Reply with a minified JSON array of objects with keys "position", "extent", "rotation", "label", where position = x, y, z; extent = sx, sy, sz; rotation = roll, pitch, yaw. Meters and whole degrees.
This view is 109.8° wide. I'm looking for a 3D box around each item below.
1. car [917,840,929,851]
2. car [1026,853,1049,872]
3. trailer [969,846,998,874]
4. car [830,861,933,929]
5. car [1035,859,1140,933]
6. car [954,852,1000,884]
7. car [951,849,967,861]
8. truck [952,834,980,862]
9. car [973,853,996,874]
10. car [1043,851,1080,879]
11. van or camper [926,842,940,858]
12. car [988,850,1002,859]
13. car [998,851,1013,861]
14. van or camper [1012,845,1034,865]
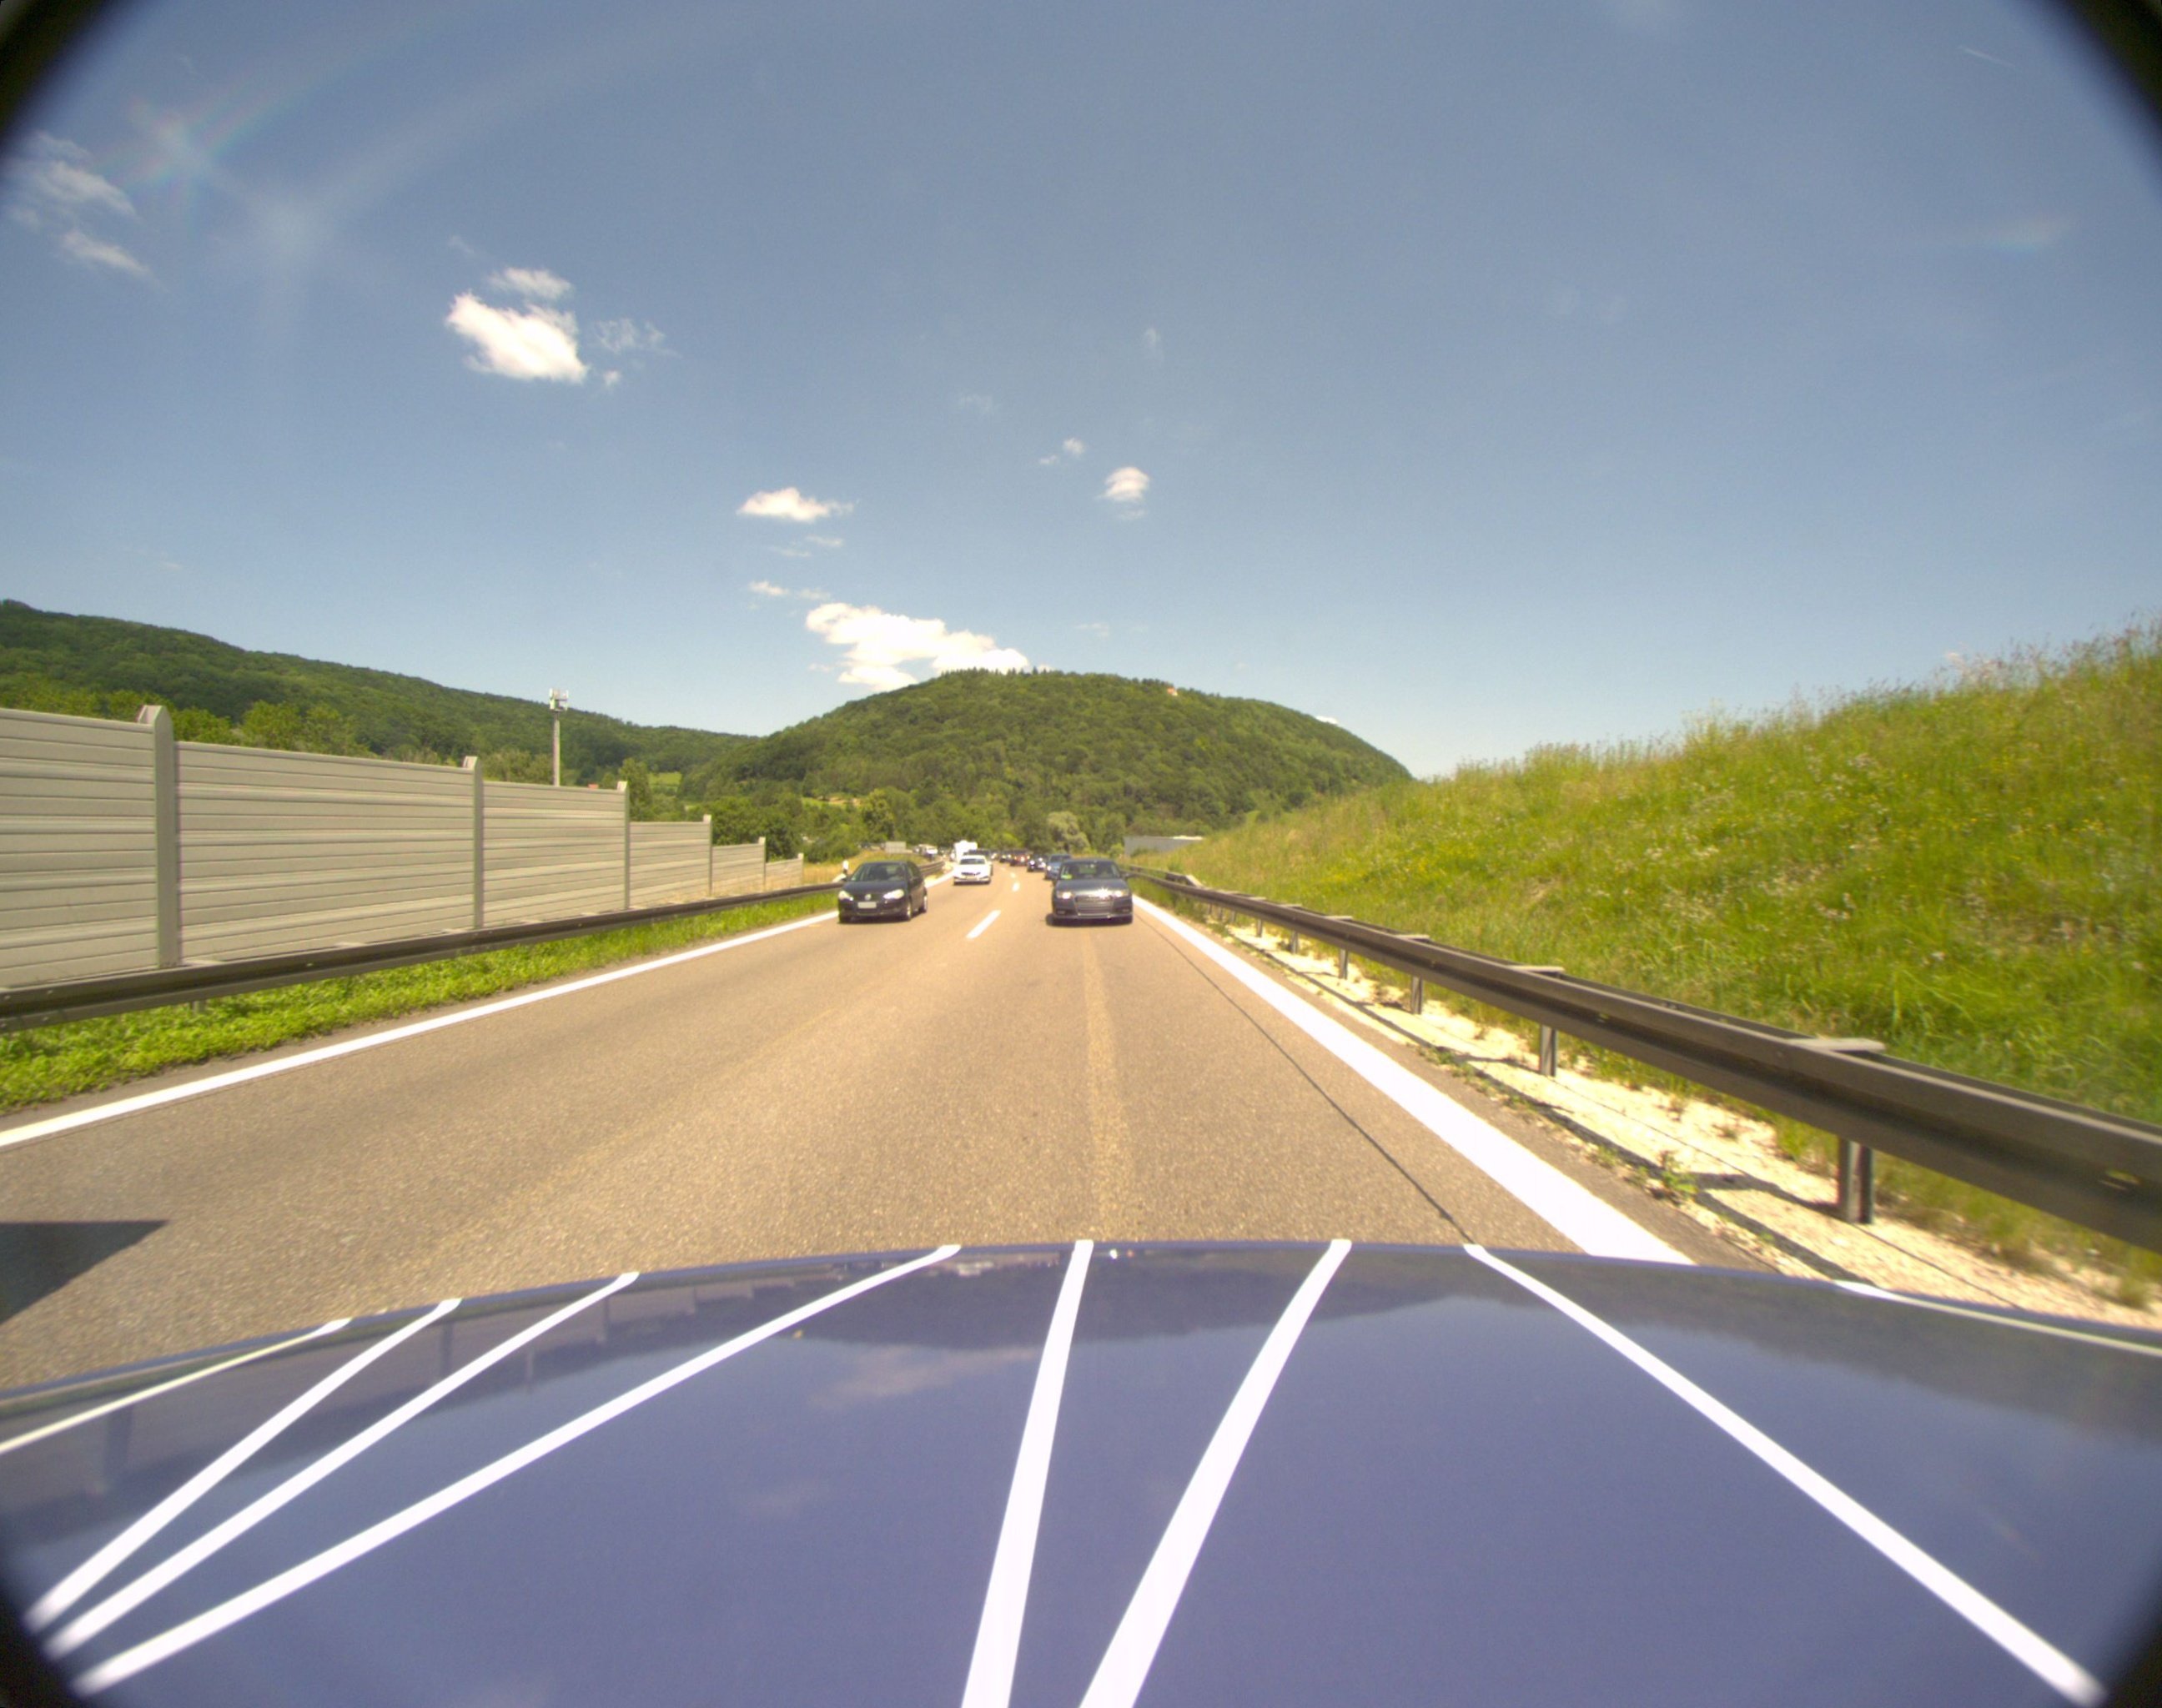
[{"position":[-31.824,-1.659,152.704],"extent":[2.001,2.002,3.994],"rotation":[-3,1,-17],"label":"car"},{"position":[-3.389,0.604,58.714],"extent":[1.287,1.306,3.449],"rotation":[-3,1,-10],"label":"car"},{"position":[-7.121,0.401,55.425],"extent":[2.000,1.958,3.997],"rotation":[0,0,-8],"label":"trailer"},{"position":[-4.871,0.945,19.072],"extent":[1.696,1.414,3.837],"rotation":[-2,1,-3],"label":"car"},{"position":[0.016,0.848,17.151],"extent":[1.756,1.382,4.052],"rotation":[-2,0,-8],"label":"car"},{"position":[-5.285,0.718,39.148],"extent":[1.908,1.422,3.721],"rotation":[-5,-1,-3],"label":"car"},{"position":[-17.275,0.181,107.723],"extent":[1.700,1.523,3.675],"rotation":[-4,1,-15],"label":"car"},{"position":[-13.621,-0.698,89.635],"extent":[2.605,3.089,6.850],"rotation":[-4,1,-12],"label":"truck"},{"position":[-6.570,0.673,51.587],"extent":[1.490,1.375,3.736],"rotation":[1,-1,-7],"label":"car"},{"position":[-1.141,0.579,41.927],"extent":[1.697,1.422,3.460],"rotation":[-3,1,-6],"label":"car"},{"position":[-28.056,-0.783,143.996],"extent":[1.912,3.010,4.866],"rotation":[-1,1,-18],"label":"van or camper"},{"position":[-11.864,0.033,104.573],"extent":[1.493,1.102,3.209],"rotation":[-3,1,-14],"label":"car"},{"position":[-9.140,0.228,91.498],"extent":[1.492,1.102,3.210],"rotation":[-2,1,-11],"label":"car"},{"position":[-5.936,0.106,77.249],"extent":[1.819,1.855,3.609],"rotation":[-2,1,-10],"label":"van or camper"}]
